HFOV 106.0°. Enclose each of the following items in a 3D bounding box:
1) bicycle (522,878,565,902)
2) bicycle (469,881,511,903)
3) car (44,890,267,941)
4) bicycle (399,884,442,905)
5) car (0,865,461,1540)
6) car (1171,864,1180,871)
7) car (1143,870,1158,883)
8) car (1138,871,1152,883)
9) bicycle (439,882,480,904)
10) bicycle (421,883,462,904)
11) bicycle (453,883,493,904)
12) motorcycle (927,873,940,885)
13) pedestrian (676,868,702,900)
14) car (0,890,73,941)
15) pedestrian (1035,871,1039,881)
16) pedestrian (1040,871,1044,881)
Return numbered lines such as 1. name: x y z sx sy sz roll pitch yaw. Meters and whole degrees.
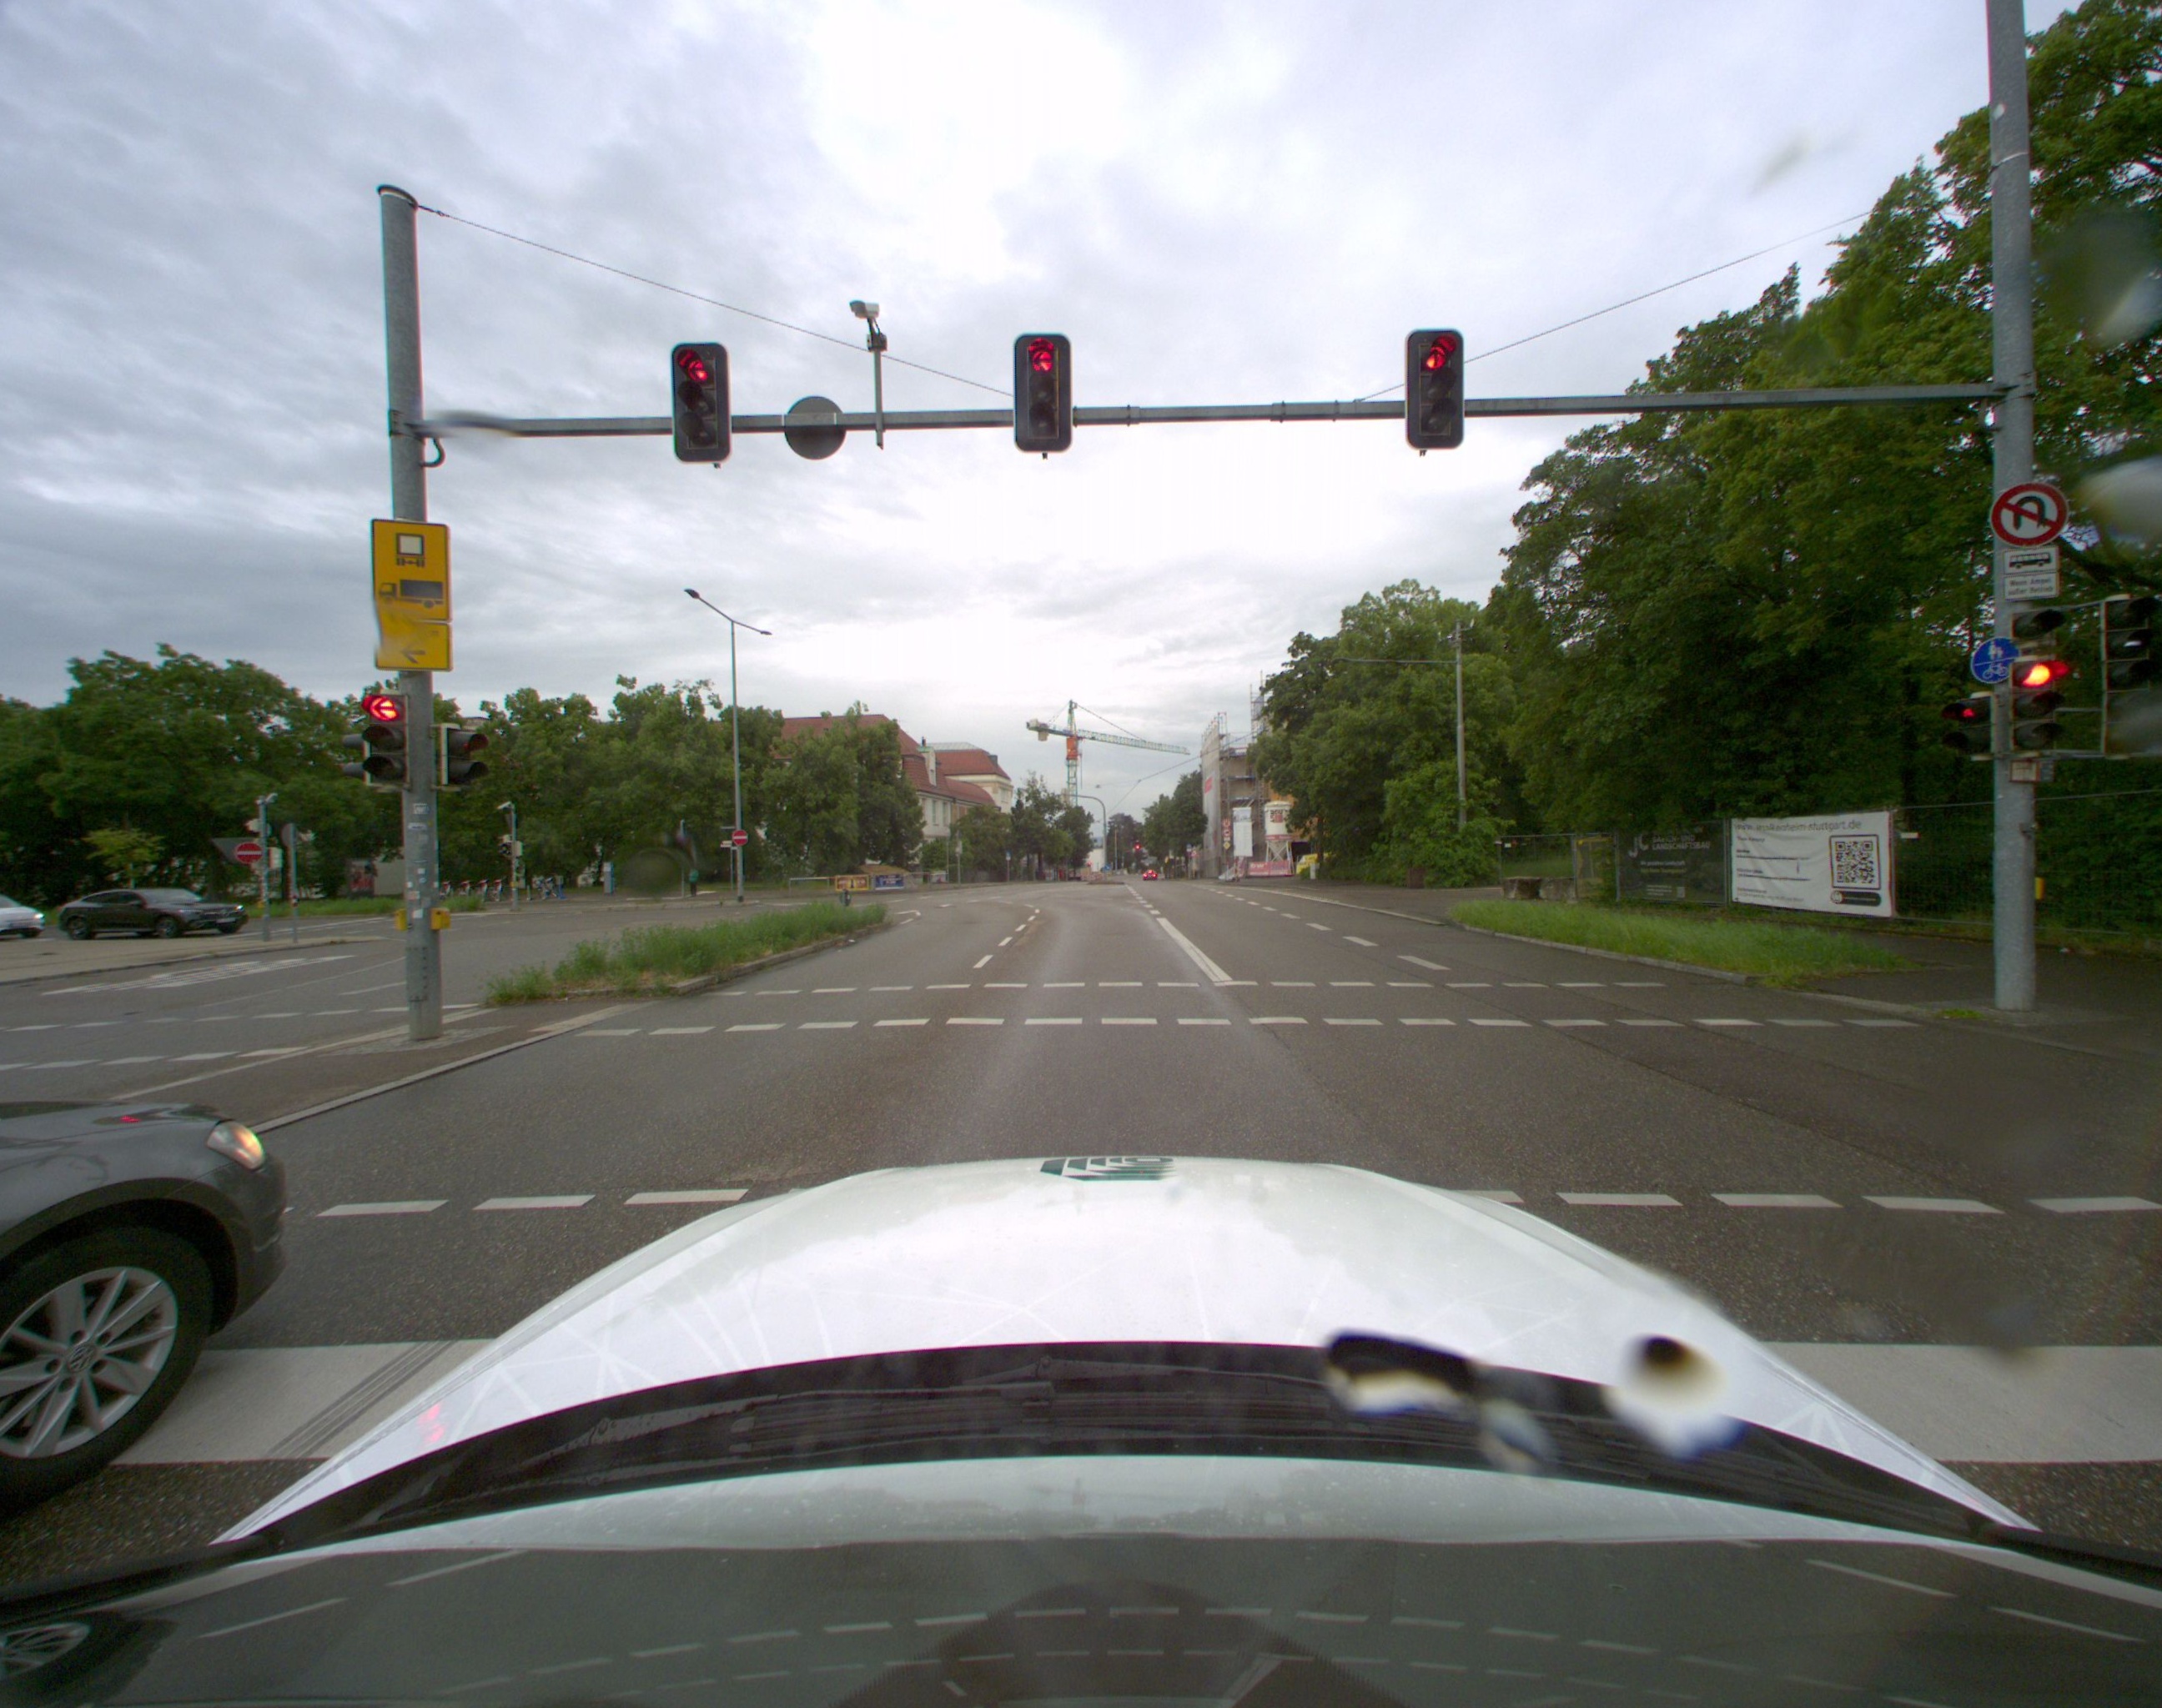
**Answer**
1. bicycle: -29.438 1.938 44.611 0.987 1.249 1.982 0 -1 2
2. bicycle: -32.271 2.066 44.503 0.798 1.071 1.982 0 -1 2
3. car: -30.078 1.984 26.582 5.006 1.500 2.001 0 -1 1
4. bicycle: -35.966 2.177 44.362 0.649 1.071 1.982 0 -1 2
5. car: -3.370 0.804 0.913 1.808 1.481 4.380 -2 0 3
6. car: 25.438 3.516 218.950 1.980 1.750 4.014 -2 0 13
7. car: 10.436 3.425 122.886 1.986 1.750 4.001 -2 0 1
8. car: 10.199 3.665 130.893 1.986 1.750 4.001 -2 0 1
9. bicycle: -33.910 2.114 44.446 0.649 1.071 1.982 0 -1 2
10. bicycle: -34.989 2.141 44.577 0.649 1.071 1.982 0 -1 2
11. bicycle: -33.020 2.118 44.271 0.649 1.071 1.982 0 -1 2
12. motorcycle: -11.786 2.006 65.285 0.846 0.877 0.877 0 -1 1
13. pedestrian: -21.617 1.631 44.893 0.918 1.727 0.947 0 -1 5
14. car: -36.499 2.035 27.047 3.539 1.594 2.001 0 -1 1
15. pedestrian: -5.944 2.972 110.242 0.473 1.396 0.411 -2 -1 1
16. pedestrian: -5.308 2.963 110.191 0.473 1.396 0.411 -2 -1 1
